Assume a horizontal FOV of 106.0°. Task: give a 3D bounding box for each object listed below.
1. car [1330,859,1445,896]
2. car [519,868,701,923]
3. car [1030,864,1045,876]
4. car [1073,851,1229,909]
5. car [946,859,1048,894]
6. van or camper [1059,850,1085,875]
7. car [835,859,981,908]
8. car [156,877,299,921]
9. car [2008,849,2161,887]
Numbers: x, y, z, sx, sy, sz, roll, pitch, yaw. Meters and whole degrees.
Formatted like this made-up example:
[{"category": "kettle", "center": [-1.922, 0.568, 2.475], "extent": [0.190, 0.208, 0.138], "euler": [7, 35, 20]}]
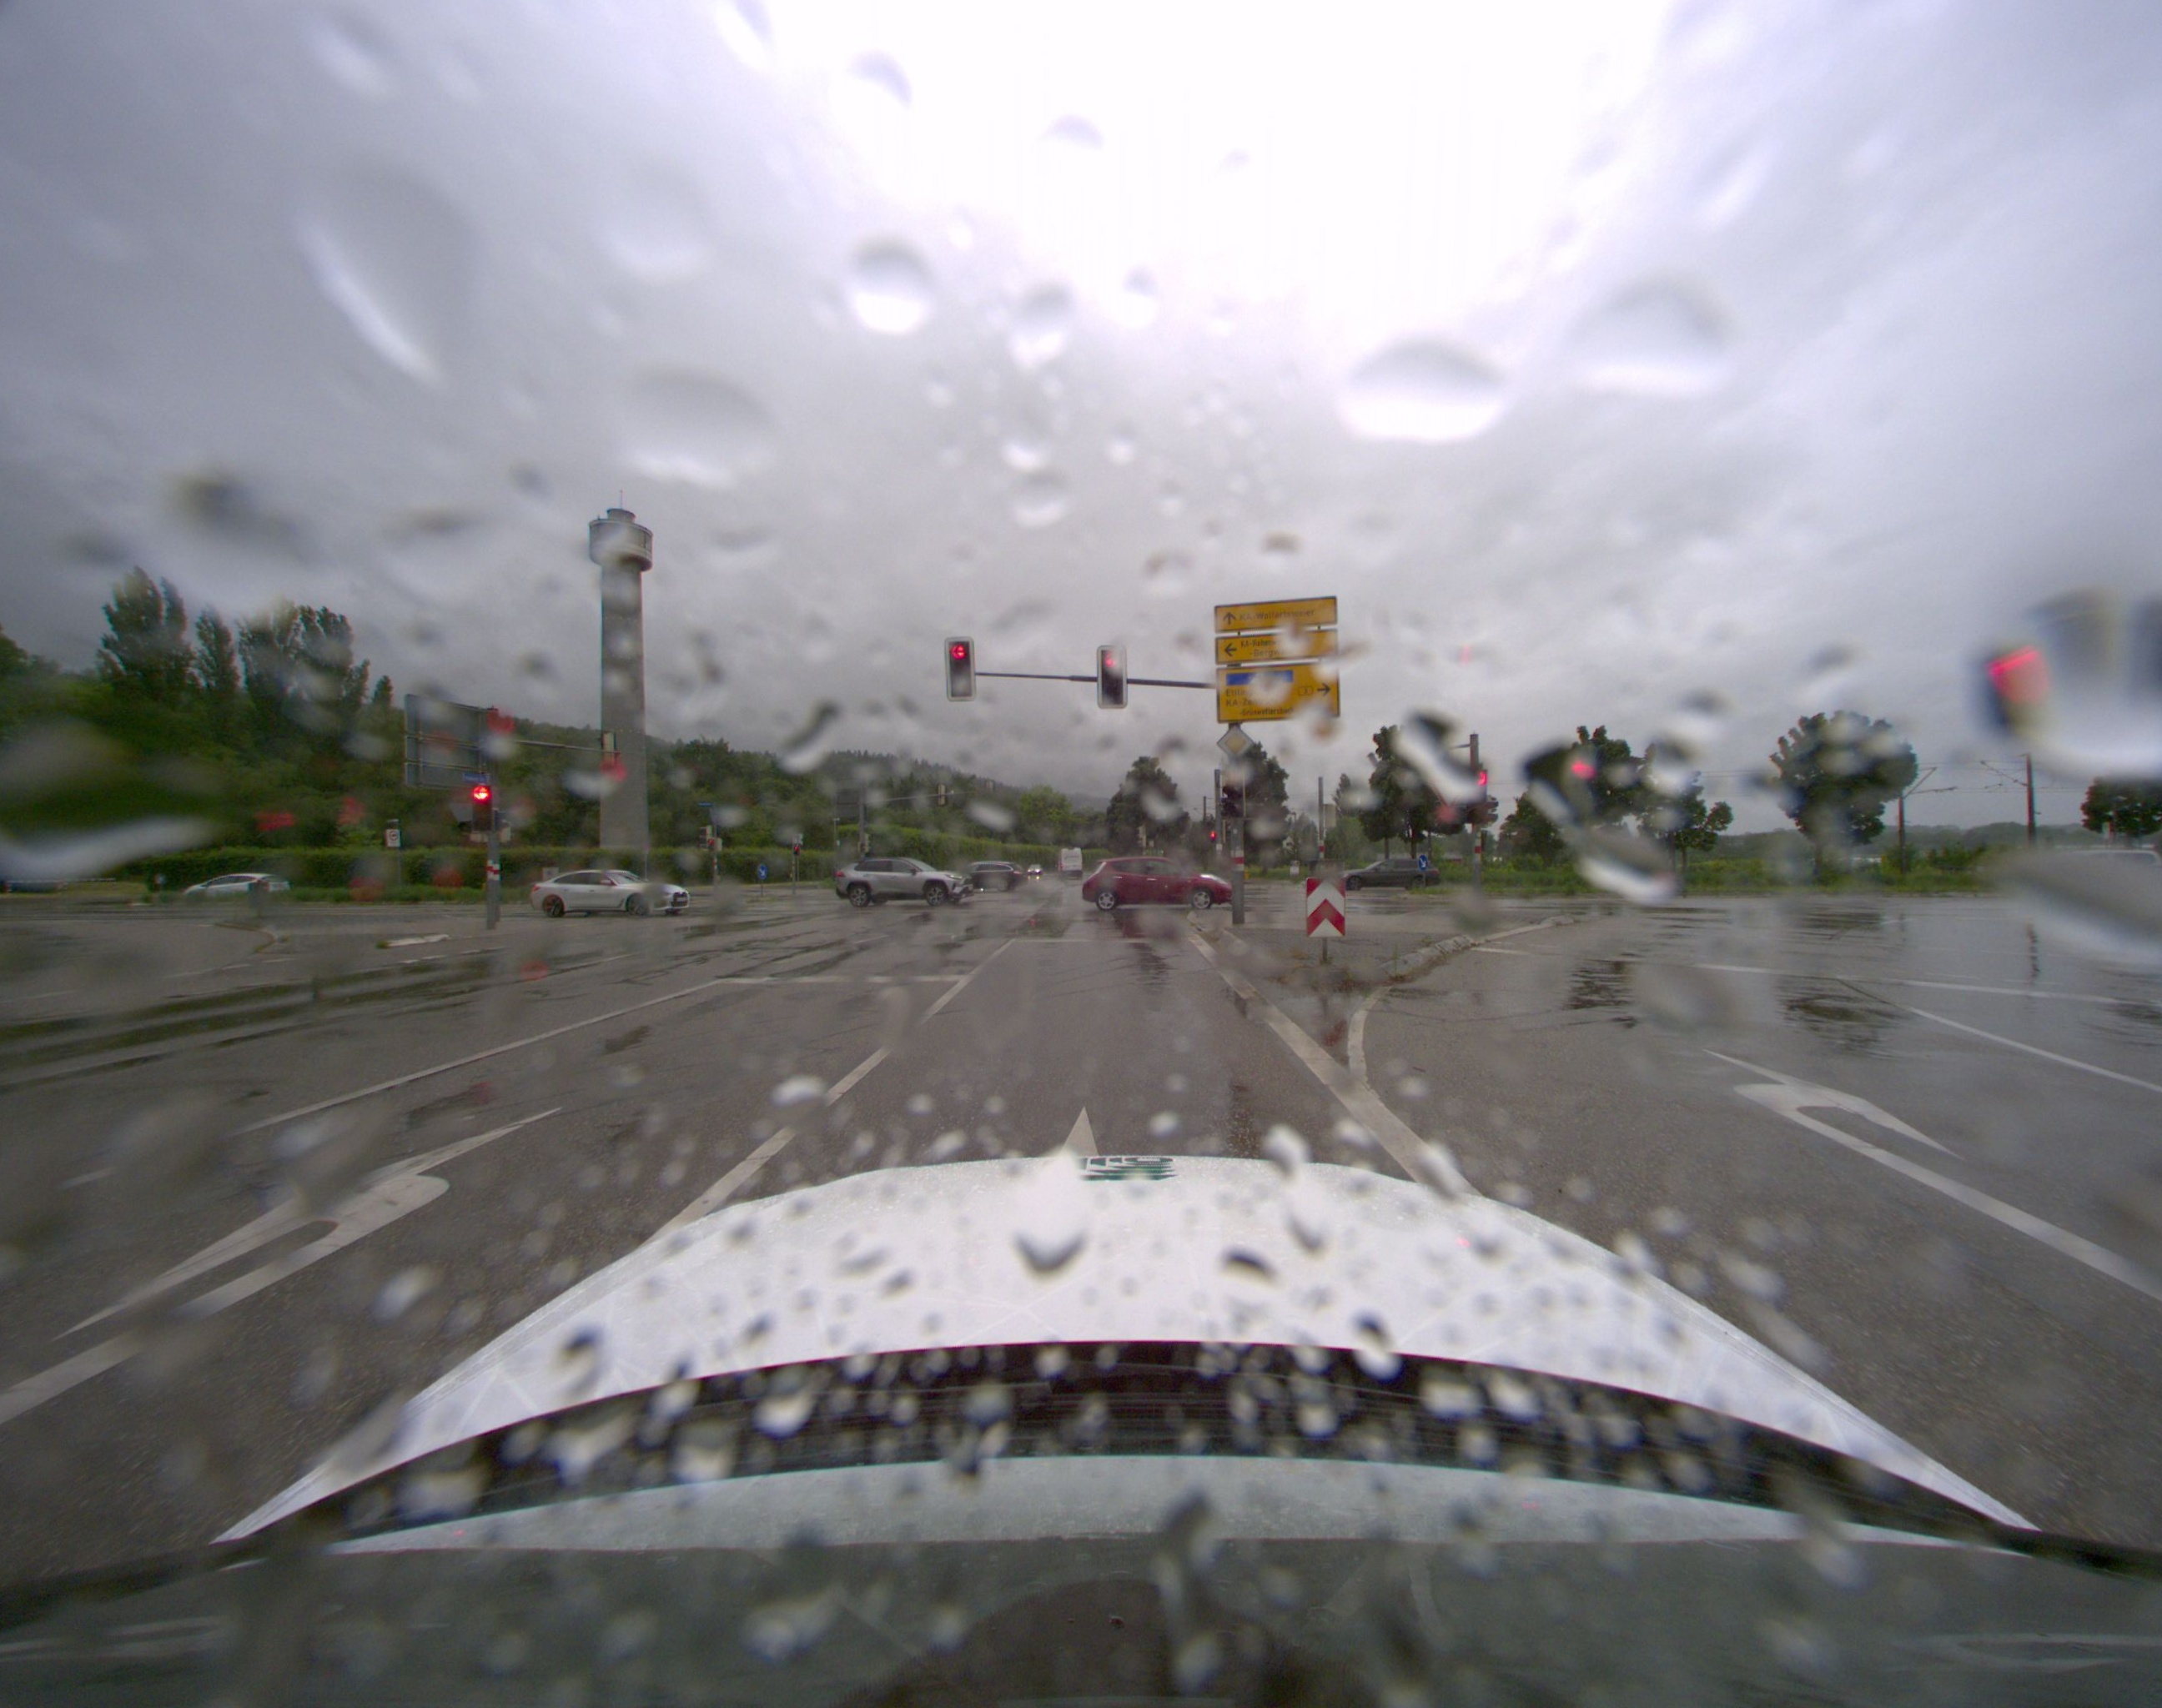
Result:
[{"category": "car", "center": [14.053, 1.067, 37.521], "extent": [4.644, 1.553, 1.826], "euler": [-1, 0, 7]}, {"category": "car", "center": [-14.770, 1.279, 25.645], "extent": [4.853, 1.553, 1.804], "euler": [-1, 0, 9]}, {"category": "car", "center": [-5.315, 1.966, 100.395], "extent": [1.553, 1.481, 3.362], "euler": [-1, 0, 1]}, {"category": "car", "center": [2.061, 0.747, 23.770], "extent": [4.351, 1.579, 1.736], "euler": [-1, 0, 8]}, {"category": "car", "center": [-4.070, 1.092, 39.776], "extent": [4.648, 1.553, 1.825], "euler": [-1, 0, 4]}, {"category": "van or camper", "center": [-0.809, 0.774, 73.950], "extent": [2.146, 2.169, 4.866], "euler": [-1, 0, 1]}, {"category": "car", "center": [-5.880, 0.977, 27.919], "extent": [4.500, 1.579, 1.917], "euler": [0, 0, 9]}, {"category": "car", "center": [-41.977, 2.173, 40.151], "extent": [4.665, 1.915, 1.911], "euler": [-1, 0, -7]}, {"category": "car", "center": [43.956, 0.609, 35.563], "extent": [4.303, 1.553, 1.829], "euler": [-1, 0, 13]}]
